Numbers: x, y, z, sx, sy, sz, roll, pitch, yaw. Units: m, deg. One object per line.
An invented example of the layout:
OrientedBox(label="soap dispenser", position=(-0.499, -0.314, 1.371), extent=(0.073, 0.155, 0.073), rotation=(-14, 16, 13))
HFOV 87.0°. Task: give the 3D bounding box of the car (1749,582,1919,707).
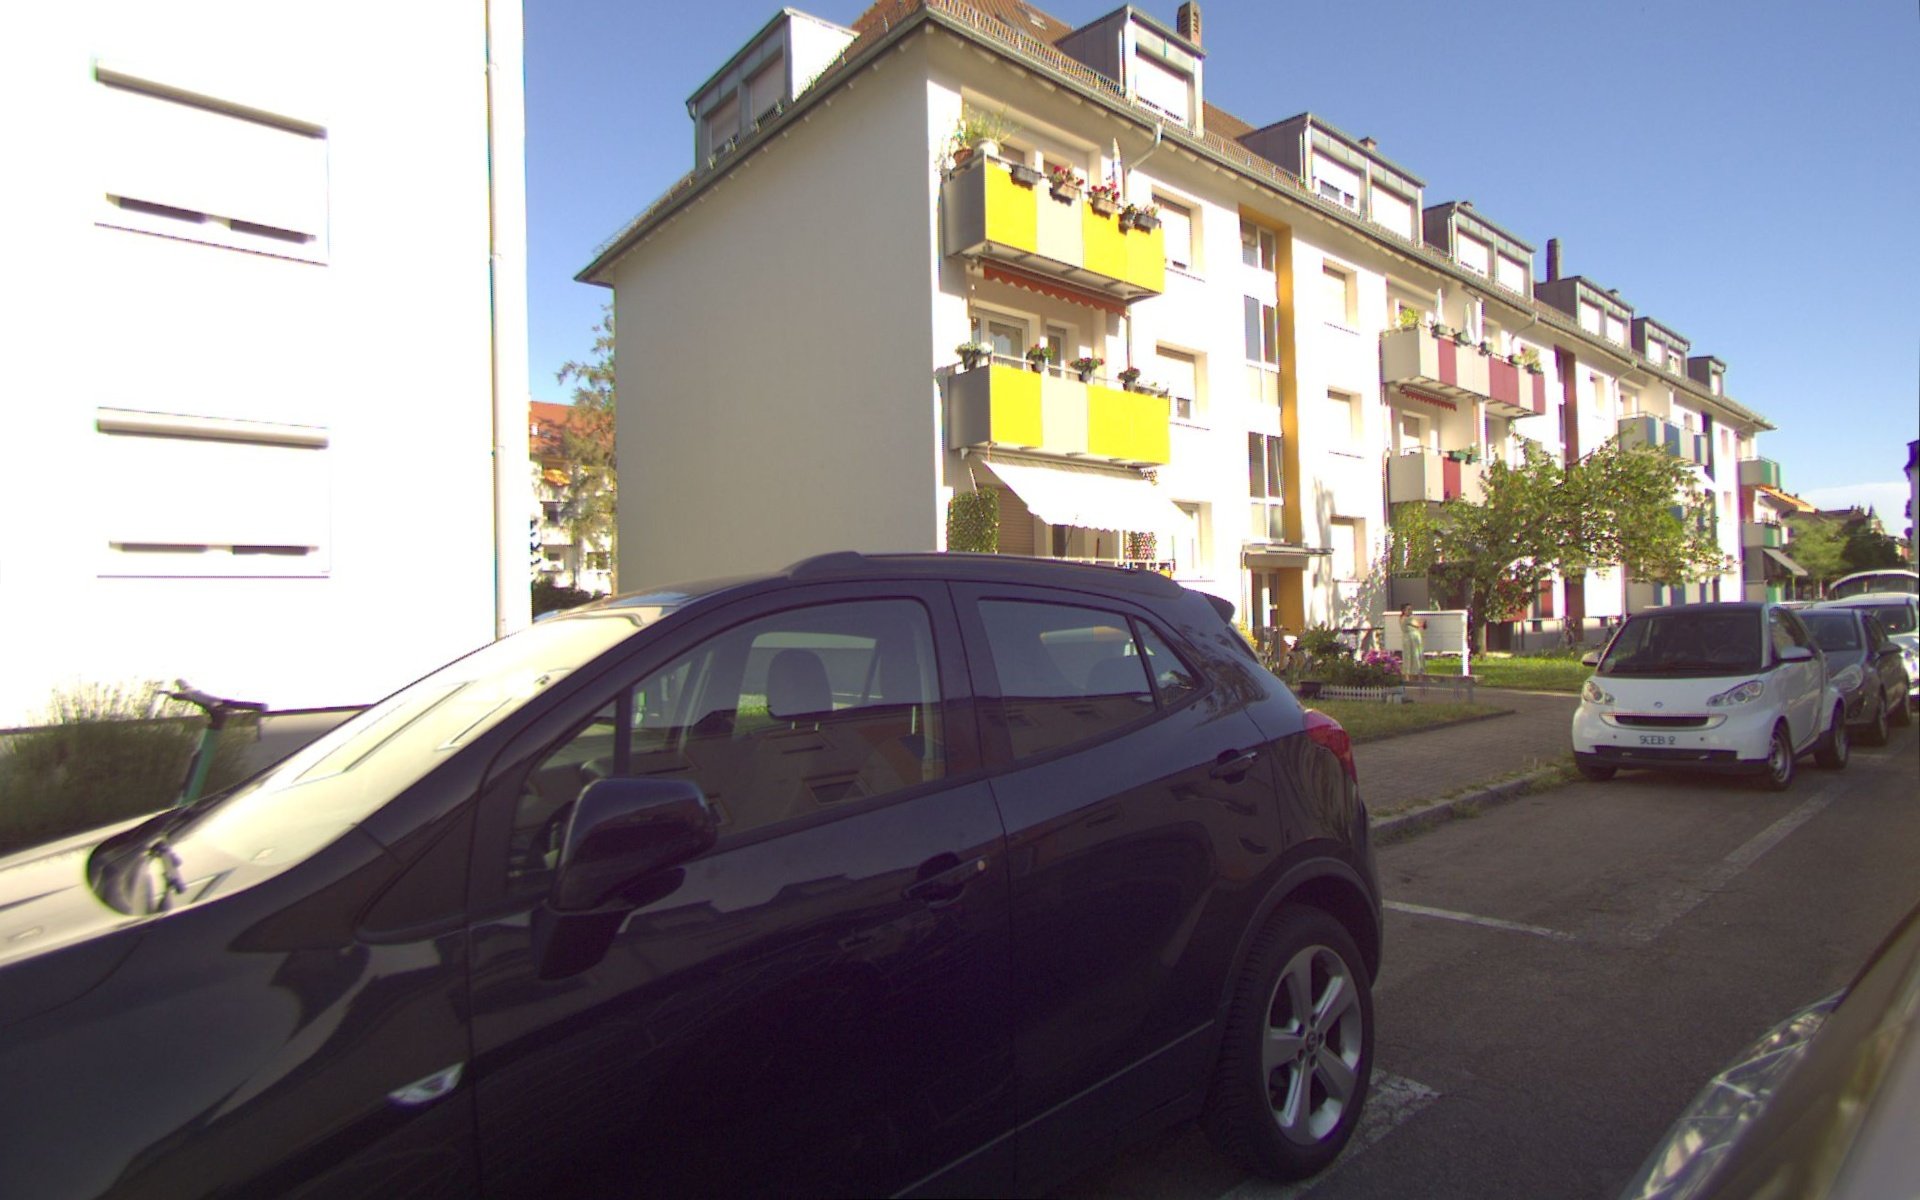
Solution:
OrientedBox(label="car", position=(14.011, 0.609, 15.420), extent=(4.905, 1.634, 1.997), rotation=(0, -3, -39))

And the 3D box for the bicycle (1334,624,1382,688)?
OrientedBox(label="bicycle", position=(6.801, 0.947, 17.316), extent=(0.234, 1.060, 0.742), rotation=(0, -1, -38))

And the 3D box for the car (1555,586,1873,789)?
OrientedBox(label="car", position=(6.907, 0.699, 9.221), extent=(2.886, 1.549, 1.483), rotation=(0, -3, -37))

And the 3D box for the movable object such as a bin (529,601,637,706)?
OrientedBox(label="movable object such as a bin", position=(-5.734, 0.771, 15.383), extent=(1.123, 1.443, 1.346), rotation=(-3, 2, -40))

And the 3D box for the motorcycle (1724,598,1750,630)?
OrientedBox(label="motorcycle", position=(31.203, 0.570, 40.652), extent=(1.942, 1.254, 0.442), rotation=(0, 0, -41))

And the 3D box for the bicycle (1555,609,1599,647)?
OrientedBox(label="bicycle", position=(18.032, 0.814, 29.563), extent=(1.940, 1.050, 0.521), rotation=(0, 0, -41))

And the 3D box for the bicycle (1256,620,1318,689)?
OrientedBox(label="bicycle", position=(5.694, 0.932, 17.583), extent=(1.250, 1.147, 0.404), rotation=(0, -2, -40))

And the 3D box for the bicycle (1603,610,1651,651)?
OrientedBox(label="bicycle", position=(18.780, 0.834, 28.468), extent=(2.248, 1.062, 0.521), rotation=(0, 1, -41))

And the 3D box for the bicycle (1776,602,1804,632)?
OrientedBox(label="bicycle", position=(32.137, 0.646, 39.174), extent=(1.840, 1.096, 0.539), rotation=(0, 1, -42))

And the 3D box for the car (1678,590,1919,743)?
OrientedBox(label="car", position=(10.077, 0.699, 11.970), extent=(3.915, 1.510, 1.695), rotation=(0, -3, -42))

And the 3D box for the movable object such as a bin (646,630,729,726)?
OrientedBox(label="movable object such as a bin", position=(-3.290, 0.918, 12.209), extent=(0.744, 1.047, 0.644), rotation=(-3, 2, -40))

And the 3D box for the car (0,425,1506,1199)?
OrientedBox(label="car", position=(-0.537, 0.690, 2.538), extent=(4.389, 1.669, 1.786), rotation=(0, -3, -40))

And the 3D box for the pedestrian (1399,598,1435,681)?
OrientedBox(label="pedestrian", position=(8.518, 0.721, 18.864), extent=(0.354, 1.513, 0.451), rotation=(-2, 0, -40))

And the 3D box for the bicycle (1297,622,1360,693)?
OrientedBox(label="bicycle", position=(6.111, 0.932, 16.750), extent=(1.276, 1.100, 0.404), rotation=(0, 0, -40))

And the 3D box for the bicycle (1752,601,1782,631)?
OrientedBox(label="bicycle", position=(31.713, 0.620, 39.770), extent=(1.840, 1.130, 0.597), rotation=(0, -1, -42))

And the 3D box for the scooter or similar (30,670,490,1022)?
OrientedBox(label="scooter or similar", position=(-2.923, 0.938, 4.354), extent=(1.561, 1.163, 0.484), rotation=(0, 1, -40))

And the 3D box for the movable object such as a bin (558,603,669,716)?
OrientedBox(label="movable object such as a bin", position=(-4.874, 0.787, 14.213), extent=(1.037, 1.429, 1.346), rotation=(-3, 2, -40))

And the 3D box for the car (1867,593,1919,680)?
OrientedBox(label="car", position=(18.615, 0.614, 19.106), extent=(4.405, 1.524, 1.773), rotation=(0, -2, -43))

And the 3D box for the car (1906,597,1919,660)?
OrientedBox(label="car", position=(24.559, 0.619, 24.583), extent=(3.987, 1.468, 1.650), rotation=(-1, -3, -38))

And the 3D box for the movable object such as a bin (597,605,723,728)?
OrientedBox(label="movable object such as a bin", position=(-3.869, 0.804, 13.030), extent=(1.087, 1.424, 1.330), rotation=(-3, 2, -40))

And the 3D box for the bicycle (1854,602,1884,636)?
OrientedBox(label="bicycle", position=(33.110, 0.690, 36.860), extent=(1.839, 1.185, 0.545), rotation=(0, 0, -40))

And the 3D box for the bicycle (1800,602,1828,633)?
OrientedBox(label="bicycle", position=(32.618, 0.645, 38.641), extent=(1.840, 1.134, 0.544), rotation=(0, 0, -42))
